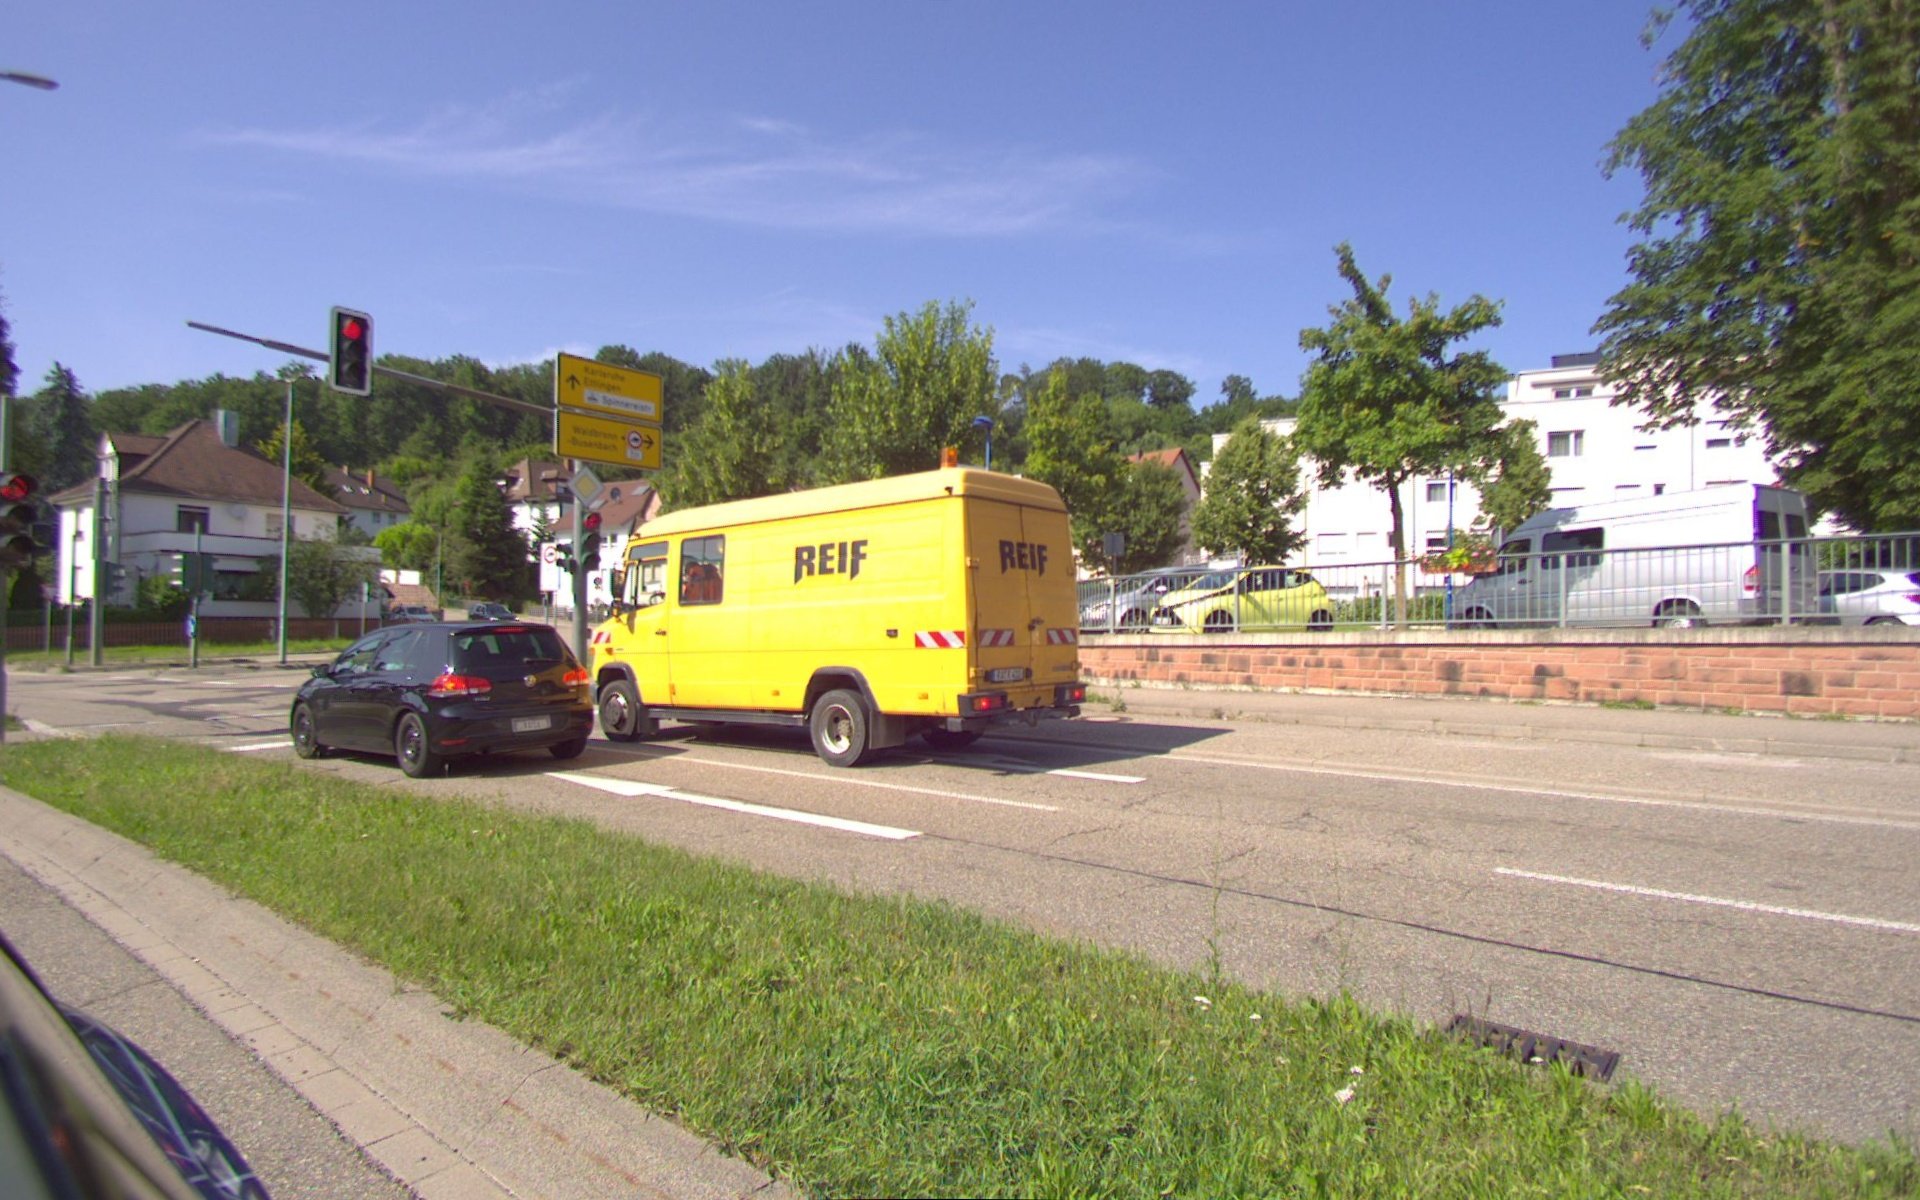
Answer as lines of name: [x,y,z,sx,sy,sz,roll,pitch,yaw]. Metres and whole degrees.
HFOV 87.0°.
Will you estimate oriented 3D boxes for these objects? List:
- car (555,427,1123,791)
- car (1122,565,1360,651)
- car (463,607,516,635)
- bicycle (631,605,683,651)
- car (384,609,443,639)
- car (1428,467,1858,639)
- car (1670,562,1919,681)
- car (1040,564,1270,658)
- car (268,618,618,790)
car: [-1.641,0.119,11.398,6.456,3.033,2.444,-1,0,38]
car: [5.314,0.132,19.212,3.931,1.392,1.920,-2,-1,-21]
car: [-29.206,1.265,62.733,1.949,1.495,4.761,-2,2,-37]
bicycle: [-9.325,0.865,31.071,1.756,1.265,0.612,-5,0,42]
car: [-33.094,1.466,61.249,3.999,1.649,1.914,-3,-1,42]
car: [11.382,-0.628,17.536,2.064,2.462,5.803,-2,-1,-27]
car: [14.866,0.365,17.341,1.888,1.803,4.013,0,-1,-21]
car: [4.156,0.196,21.658,4.339,1.709,2.064,-3,0,-21]
car: [-5.520,0.950,10.627,4.037,1.474,1.729,-2,-2,38]
